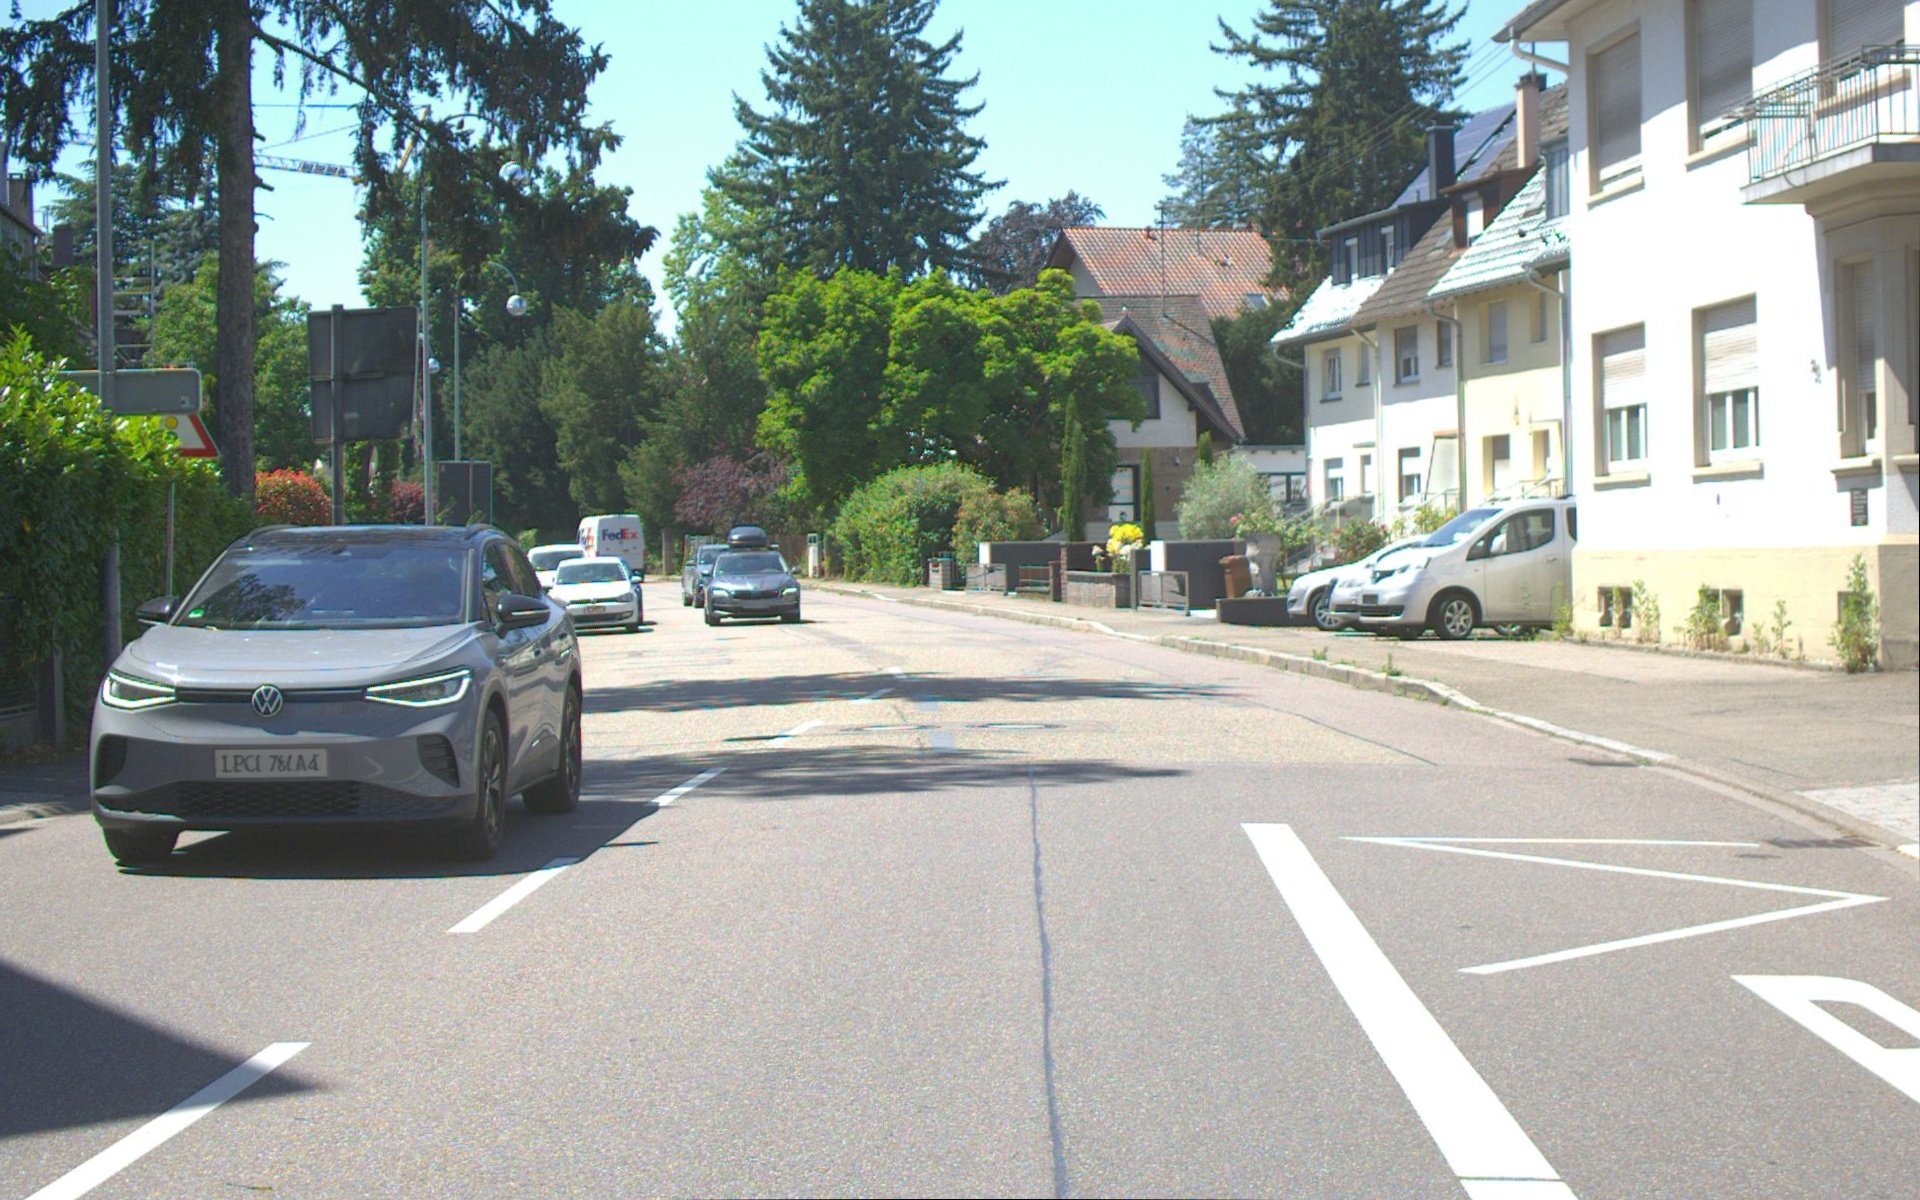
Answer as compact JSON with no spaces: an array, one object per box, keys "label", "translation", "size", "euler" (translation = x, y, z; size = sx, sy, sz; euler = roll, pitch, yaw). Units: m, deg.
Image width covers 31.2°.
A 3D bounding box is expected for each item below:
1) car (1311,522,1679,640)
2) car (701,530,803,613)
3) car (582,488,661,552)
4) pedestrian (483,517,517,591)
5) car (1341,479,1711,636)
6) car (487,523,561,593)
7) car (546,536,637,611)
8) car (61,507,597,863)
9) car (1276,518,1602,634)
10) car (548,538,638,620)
[{"label":"car","translation":[7.279,-0.274,47.013],"size":[4.639,1.404,1.769],"euler":[2,1,-4]},{"label":"car","translation":[-4.118,-0.587,67.659],"size":[1.806,1.483,4.388],"euler":[-2,2,-5]},{"label":"car","translation":[-12.825,-3.013,129.859],"size":[2.143,2.307,4.854],"euler":[-3,2,-15]},{"label":"pedestrian","translation":[-12.015,-1.206,89.777],"size":[0.689,1.883,1.019],"euler":[4,0,-3]},{"label":"car","translation":[7.260,-0.552,44.241],"size":[4.289,1.824,1.740],"euler":[2,1,-13]},{"label":"car","translation":[-11.530,-1.118,90.779],"size":[1.722,1.730,3.888],"euler":[-3,1,-9]},{"label":"car","translation":[-7.749,-0.582,72.075],"size":[1.768,1.434,4.363],"euler":[-3,2,-7]},{"label":"car","translation":[-3.089,0.344,17.734],"size":[1.853,1.611,4.297],"euler":[0,1,2]},{"label":"car","translation":[6.941,-0.354,49.891],"size":[4.297,1.542,1.754],"euler":[2,0,27]},{"label":"car","translation":[-7.071,-0.423,66.003],"size":[1.578,1.418,3.942],"euler":[-3,2,-7]}]
